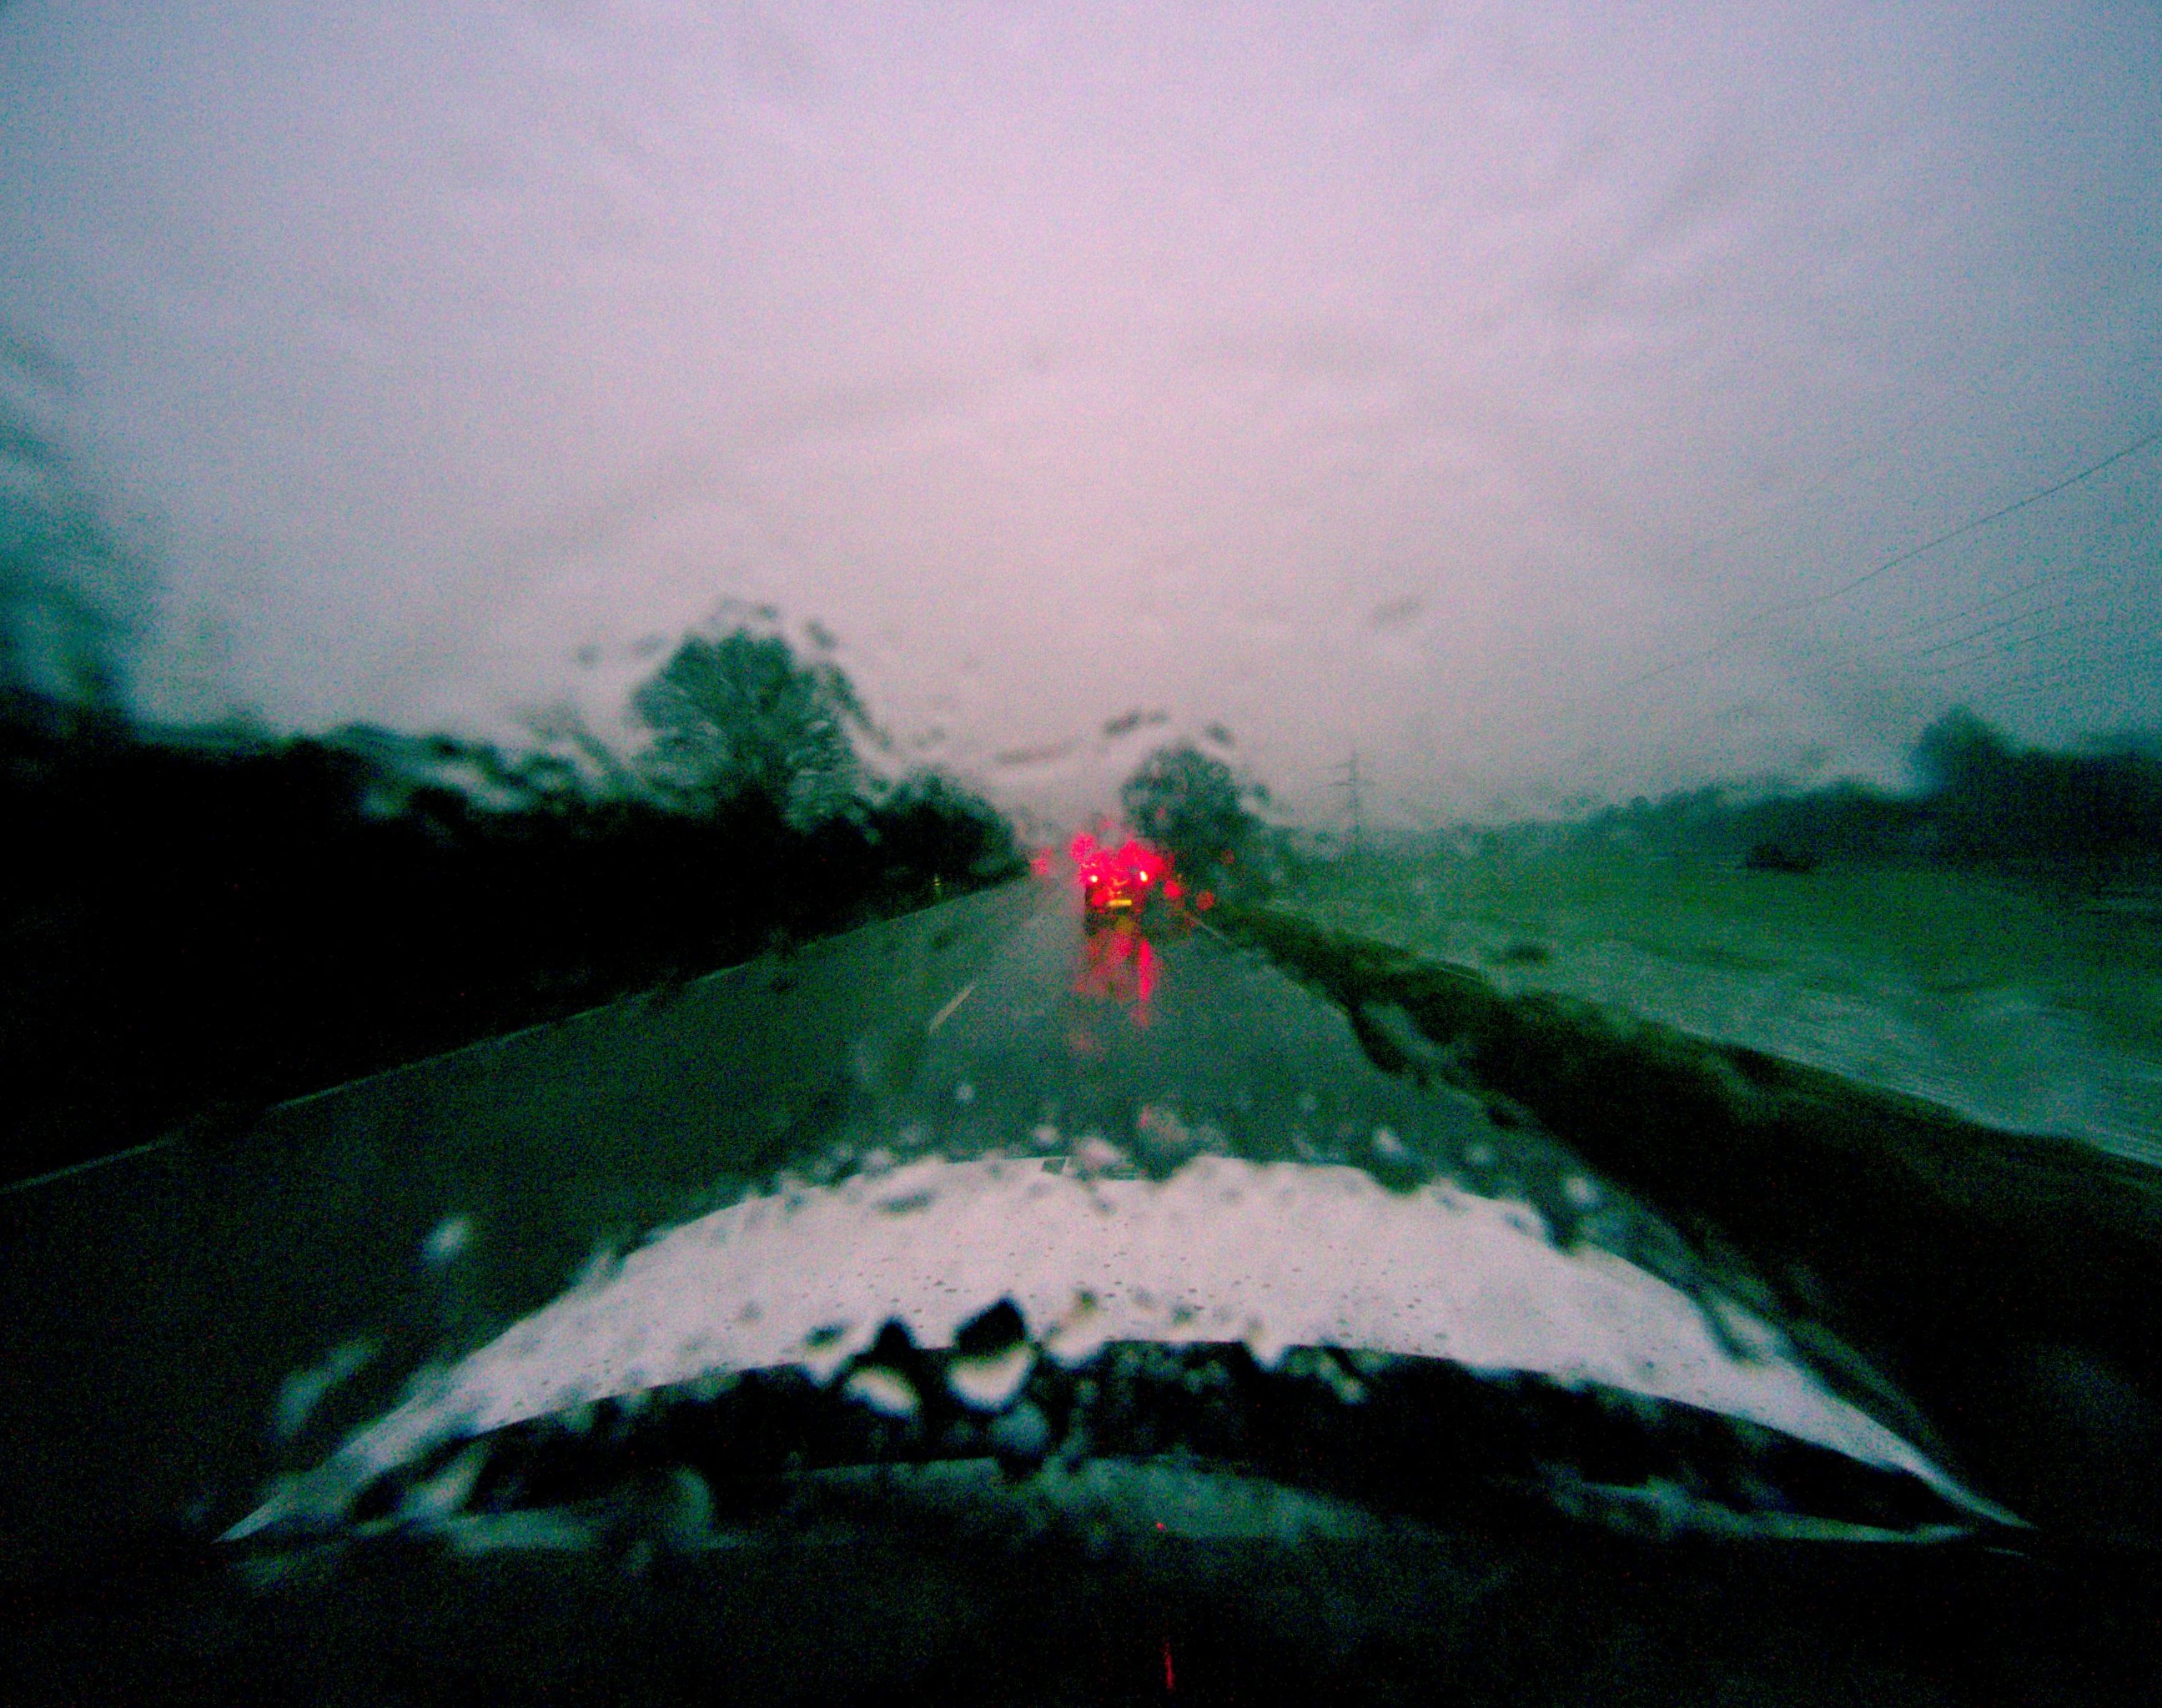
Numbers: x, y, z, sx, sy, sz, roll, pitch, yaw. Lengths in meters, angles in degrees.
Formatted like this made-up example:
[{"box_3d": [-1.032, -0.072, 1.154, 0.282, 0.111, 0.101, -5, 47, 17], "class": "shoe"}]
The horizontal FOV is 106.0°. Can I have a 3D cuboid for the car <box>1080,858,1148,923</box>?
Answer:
[{"box_3d": [0.900, 0.866, 21.035, 1.595, 1.522, 3.873, -1, -1, 4], "class": "car"}]

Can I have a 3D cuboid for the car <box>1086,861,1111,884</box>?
[{"box_3d": [1.105, 1.185, 52.633, 1.541, 1.397, 3.870, -1, -1, 1], "class": "car"}]

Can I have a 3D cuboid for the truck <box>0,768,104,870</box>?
[{"box_3d": [-25.719, -0.794, 18.125, 1.986, 2.343, 4.831, -1, -1, 2], "class": "truck"}]

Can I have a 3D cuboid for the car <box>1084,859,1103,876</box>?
[{"box_3d": [1.135, 1.176, 72.330, 1.540, 1.397, 3.872, -1, -1, 3], "class": "car"}]

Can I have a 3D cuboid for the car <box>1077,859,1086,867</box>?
[{"box_3d": [0.111, 1.518, 142.446, 1.541, 1.397, 3.871, -1, -1, 2], "class": "car"}]
